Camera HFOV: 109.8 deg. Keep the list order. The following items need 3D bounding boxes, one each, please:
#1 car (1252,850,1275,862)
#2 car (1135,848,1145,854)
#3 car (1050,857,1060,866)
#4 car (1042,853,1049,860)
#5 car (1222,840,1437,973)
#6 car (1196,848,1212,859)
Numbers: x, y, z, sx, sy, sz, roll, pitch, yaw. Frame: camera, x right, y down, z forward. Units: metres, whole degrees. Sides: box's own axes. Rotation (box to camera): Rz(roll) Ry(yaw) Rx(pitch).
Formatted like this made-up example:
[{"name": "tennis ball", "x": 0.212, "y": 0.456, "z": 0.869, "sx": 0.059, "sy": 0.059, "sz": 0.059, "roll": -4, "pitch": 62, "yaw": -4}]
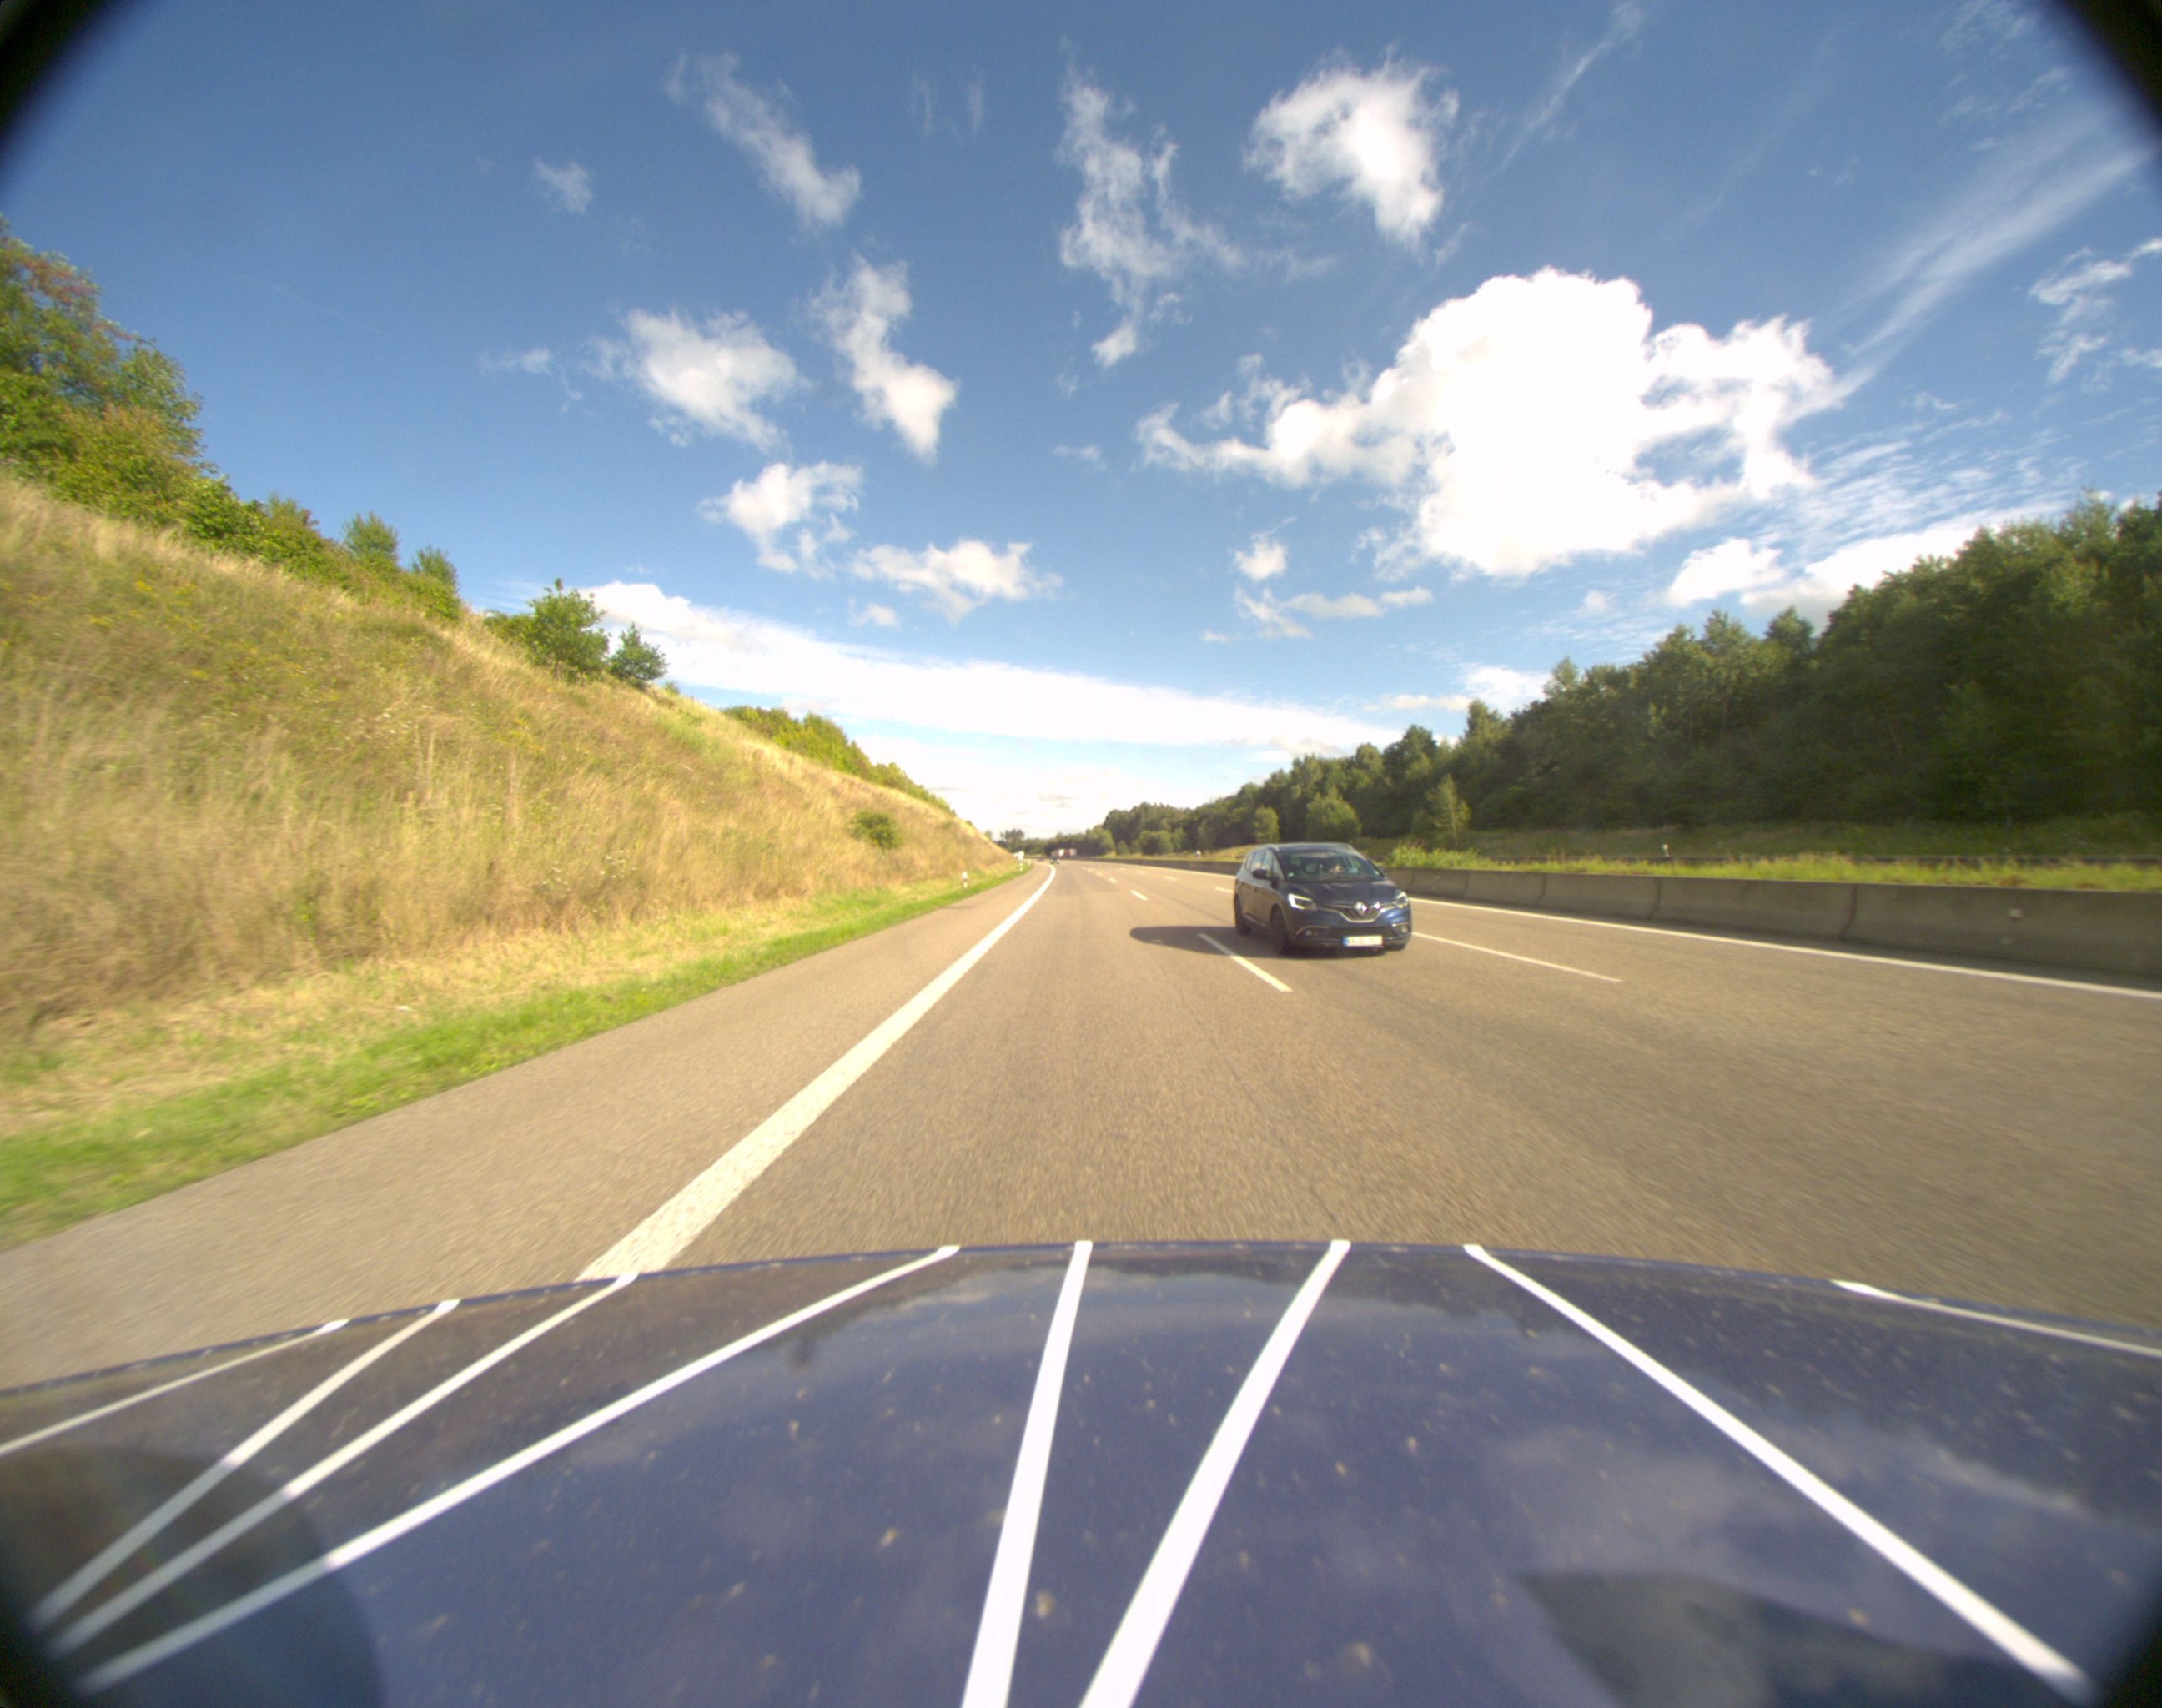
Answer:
[{"name": "car", "x": 22.829, "y": 0.228, "z": 95.080, "sx": 1.911, "sy": 1.444, "sz": 4.000, "roll": -2, "pitch": 0, "yaw": 0}, {"name": "car", "x": 17.761, "y": -0.964, "z": 228.036, "sx": 2.000, "sy": 1.790, "sz": 3.997, "roll": -2, "pitch": 0, "yaw": -8}, {"name": "car", "x": -5.611, "y": 1.539, "z": 161.892, "sx": 1.999, "sy": 1.827, "sz": 3.998, "roll": -2, "pitch": 1, "yaw": -3}, {"name": "car", "x": -10.798, "y": 0.780, "z": 231.894, "sx": 1.999, "sy": 2.002, "sz": 3.997, "roll": -2, "pitch": 1, "yaw": -6}, {"name": "car", "x": 3.751, "y": 0.694, "z": 12.435, "sx": 1.998, "sy": 1.697, "sz": 4.529, "roll": -2, "pitch": 0, "yaw": 0}, {"name": "car", "x": 20.762, "y": -0.148, "z": 128.639, "sx": 1.998, "sy": 1.790, "sz": 4.000, "roll": -2, "pitch": 0, "yaw": 0}]
